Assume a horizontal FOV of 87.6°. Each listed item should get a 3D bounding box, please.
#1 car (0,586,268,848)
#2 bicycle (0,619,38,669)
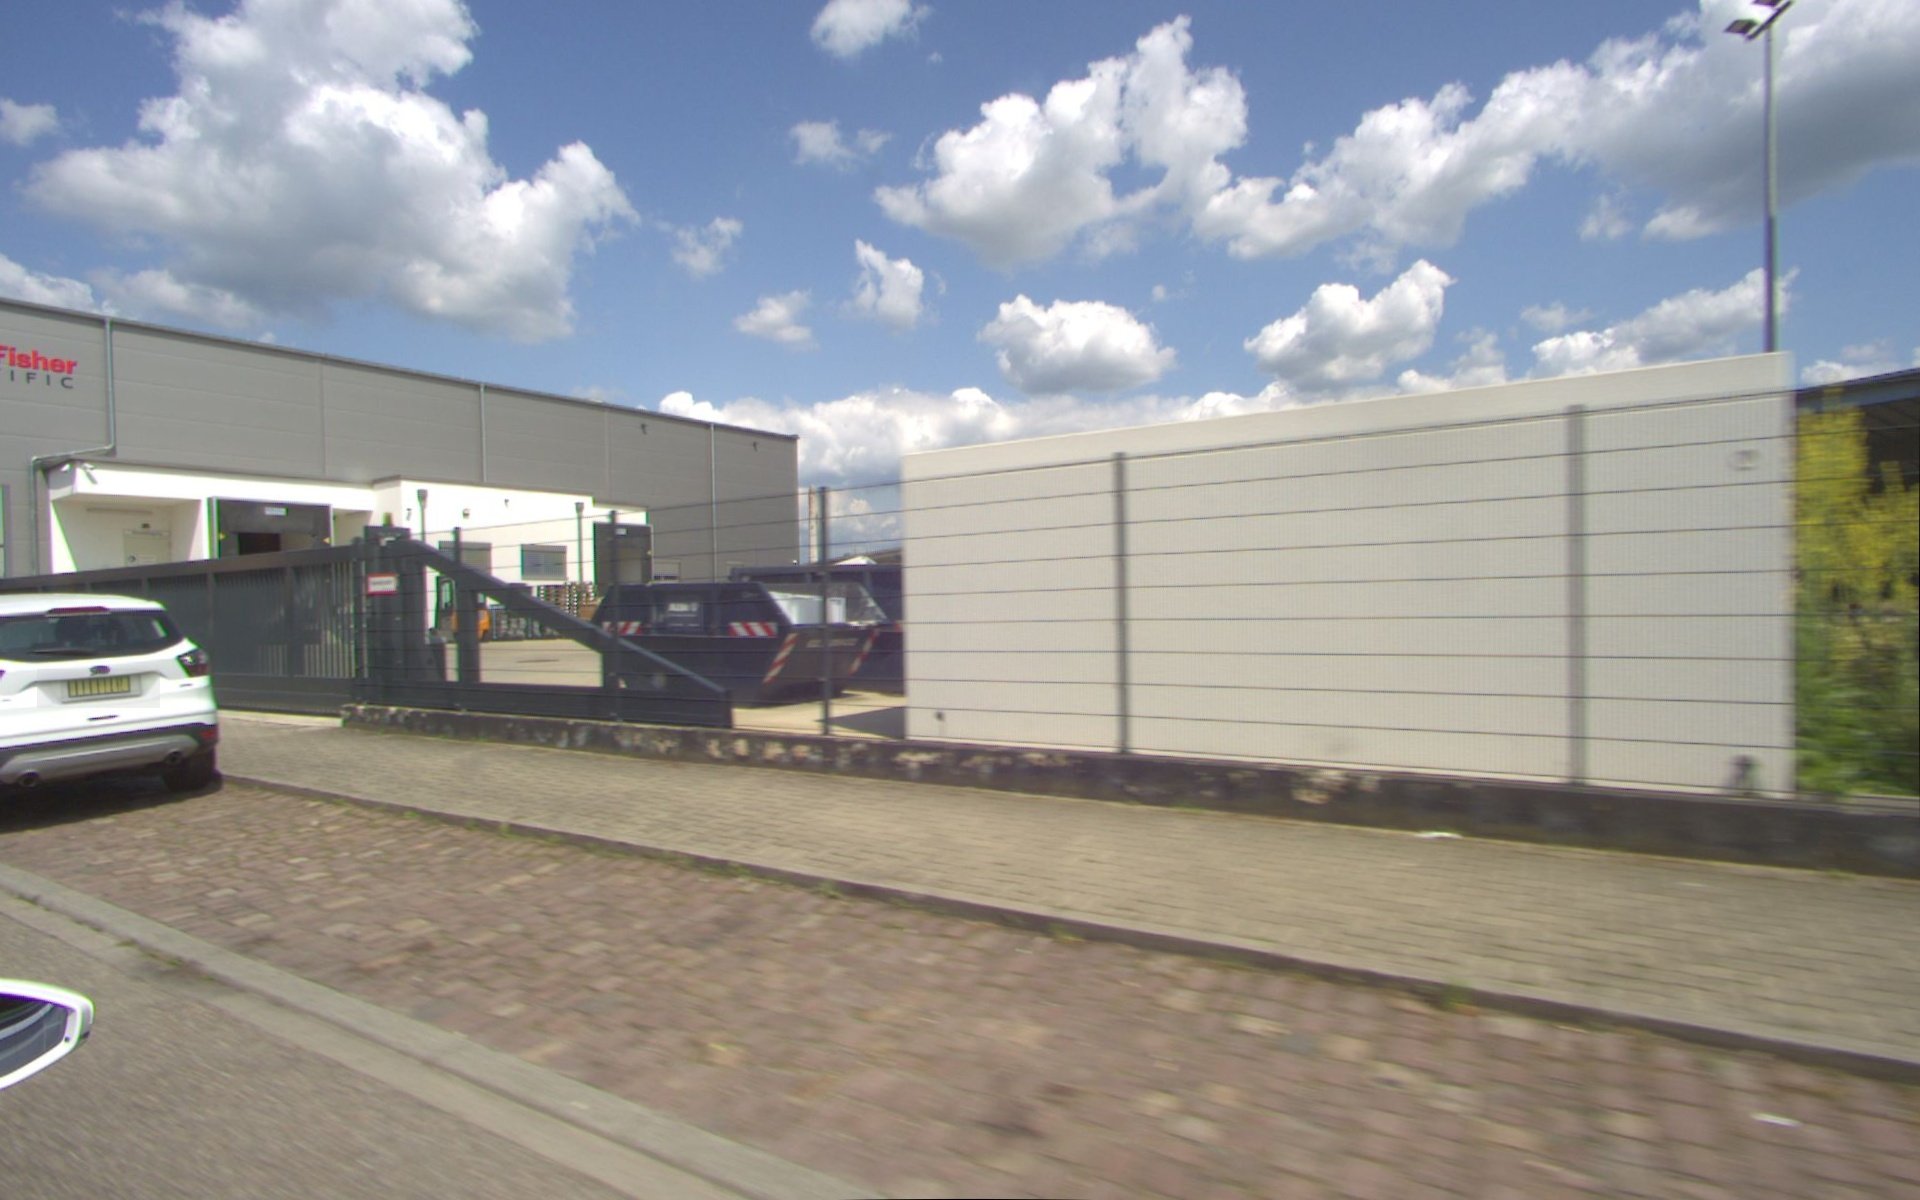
[{"bbox_3d":[-8.179,0.829,8.633,4.613,1.717,1.930,-1,3,33],"label":"car"},{"bbox_3d":[-23.398,1.083,23.900,0.451,1.159,1.943,0,2,35],"label":"bicycle"}]
